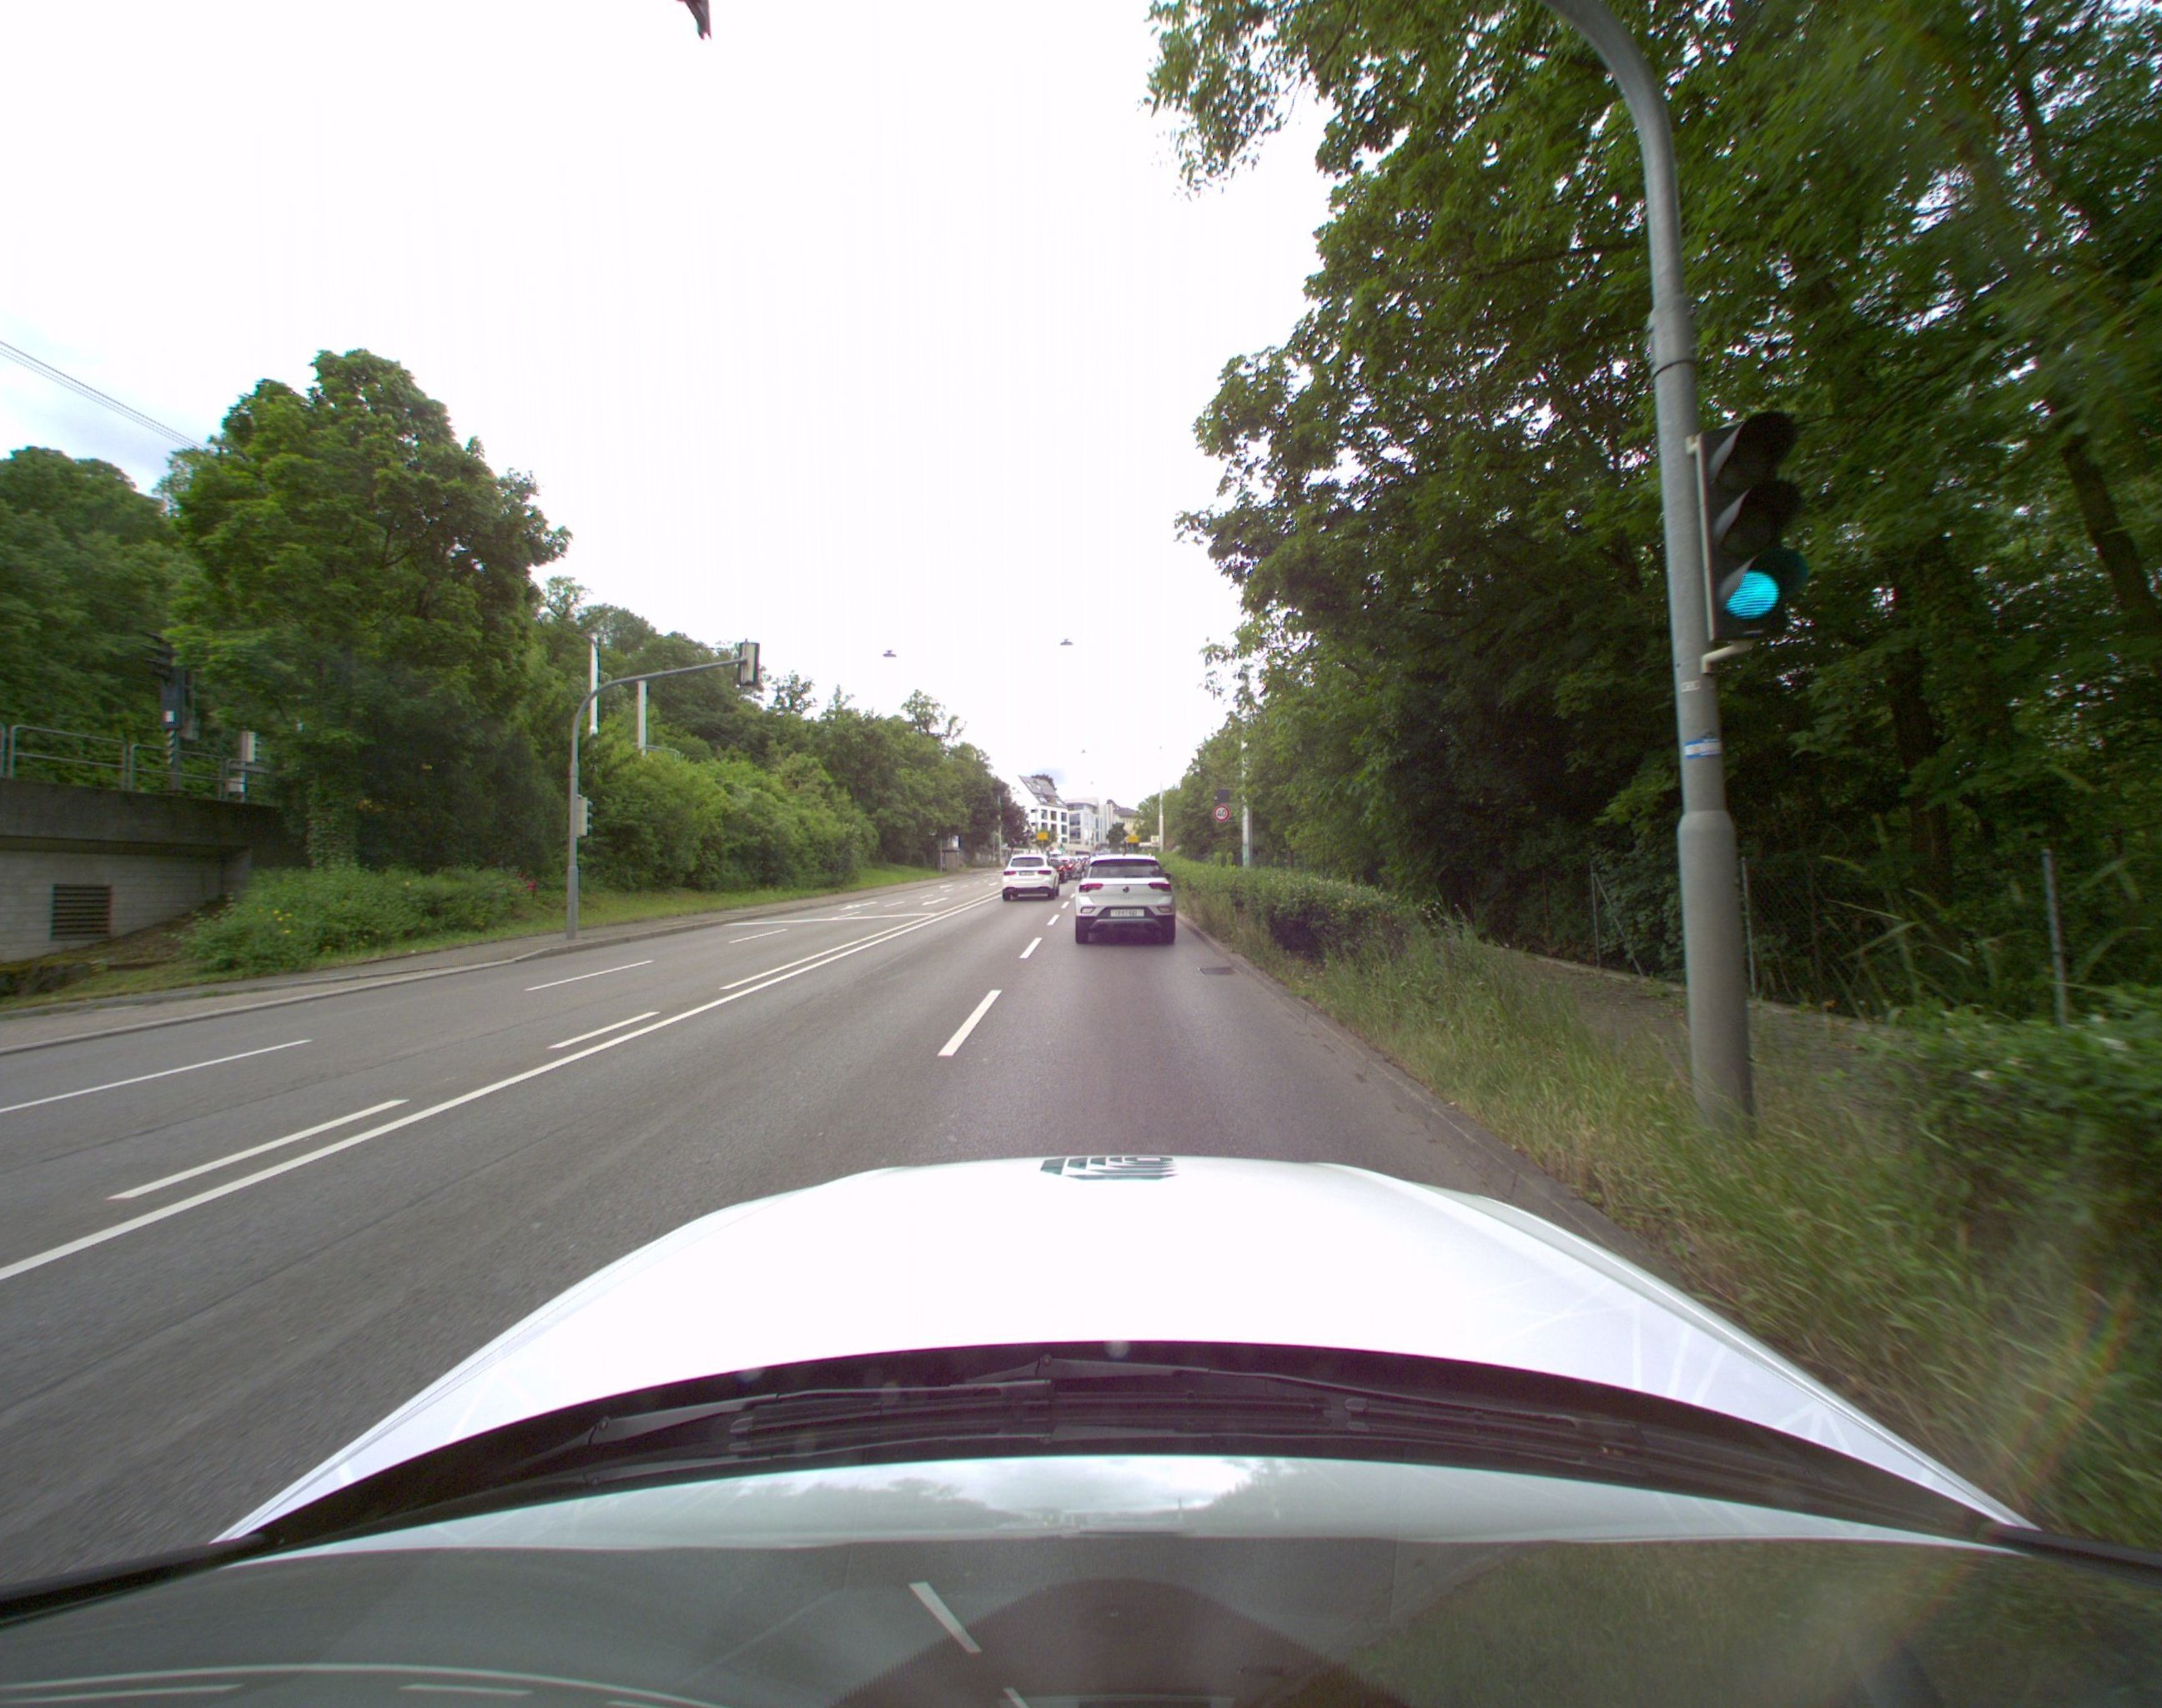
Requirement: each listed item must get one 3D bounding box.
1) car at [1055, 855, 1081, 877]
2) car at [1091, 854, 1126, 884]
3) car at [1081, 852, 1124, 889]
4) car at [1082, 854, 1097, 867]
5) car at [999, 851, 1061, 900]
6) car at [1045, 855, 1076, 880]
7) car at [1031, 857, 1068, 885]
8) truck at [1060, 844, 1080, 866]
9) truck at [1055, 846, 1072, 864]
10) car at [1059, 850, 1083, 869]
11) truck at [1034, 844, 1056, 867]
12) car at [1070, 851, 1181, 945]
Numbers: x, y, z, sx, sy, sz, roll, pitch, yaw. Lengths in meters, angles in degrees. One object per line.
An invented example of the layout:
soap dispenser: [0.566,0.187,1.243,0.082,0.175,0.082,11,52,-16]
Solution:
car: [-0.970,0.875,62.380,1.822,1.526,4.001,-2,0,1]
car: [1.503,0.801,44.954,1.822,1.526,4.001,-2,0,1]
car: [1.005,0.728,37.659,1.822,1.526,4.001,-2,0,1]
car: [1.068,0.776,103.782,1.822,1.526,4.001,-2,0,1]
car: [-1.820,0.757,30.065,1.911,1.669,4.001,-1,0,1]
car: [-1.357,0.898,54.910,1.822,1.526,4.001,-2,0,1]
car: [-1.797,0.940,47.539,1.822,1.497,4.001,-2,0,1]
truck: [-1.429,0.173,109.005,2.354,2.782,4.479,-3,0,1]
truck: [-3.261,0.203,154.072,2.282,3.051,6.988,-3,-1,5]
car: [-0.854,0.488,70.068,1.822,1.526,4.001,-2,0,1]
truck: [-4.600,0.218,104.531,2.354,2.706,4.479,-3,0,1]
car: [0.804,0.752,15.687,1.822,1.526,4.001,-2,0,1]
